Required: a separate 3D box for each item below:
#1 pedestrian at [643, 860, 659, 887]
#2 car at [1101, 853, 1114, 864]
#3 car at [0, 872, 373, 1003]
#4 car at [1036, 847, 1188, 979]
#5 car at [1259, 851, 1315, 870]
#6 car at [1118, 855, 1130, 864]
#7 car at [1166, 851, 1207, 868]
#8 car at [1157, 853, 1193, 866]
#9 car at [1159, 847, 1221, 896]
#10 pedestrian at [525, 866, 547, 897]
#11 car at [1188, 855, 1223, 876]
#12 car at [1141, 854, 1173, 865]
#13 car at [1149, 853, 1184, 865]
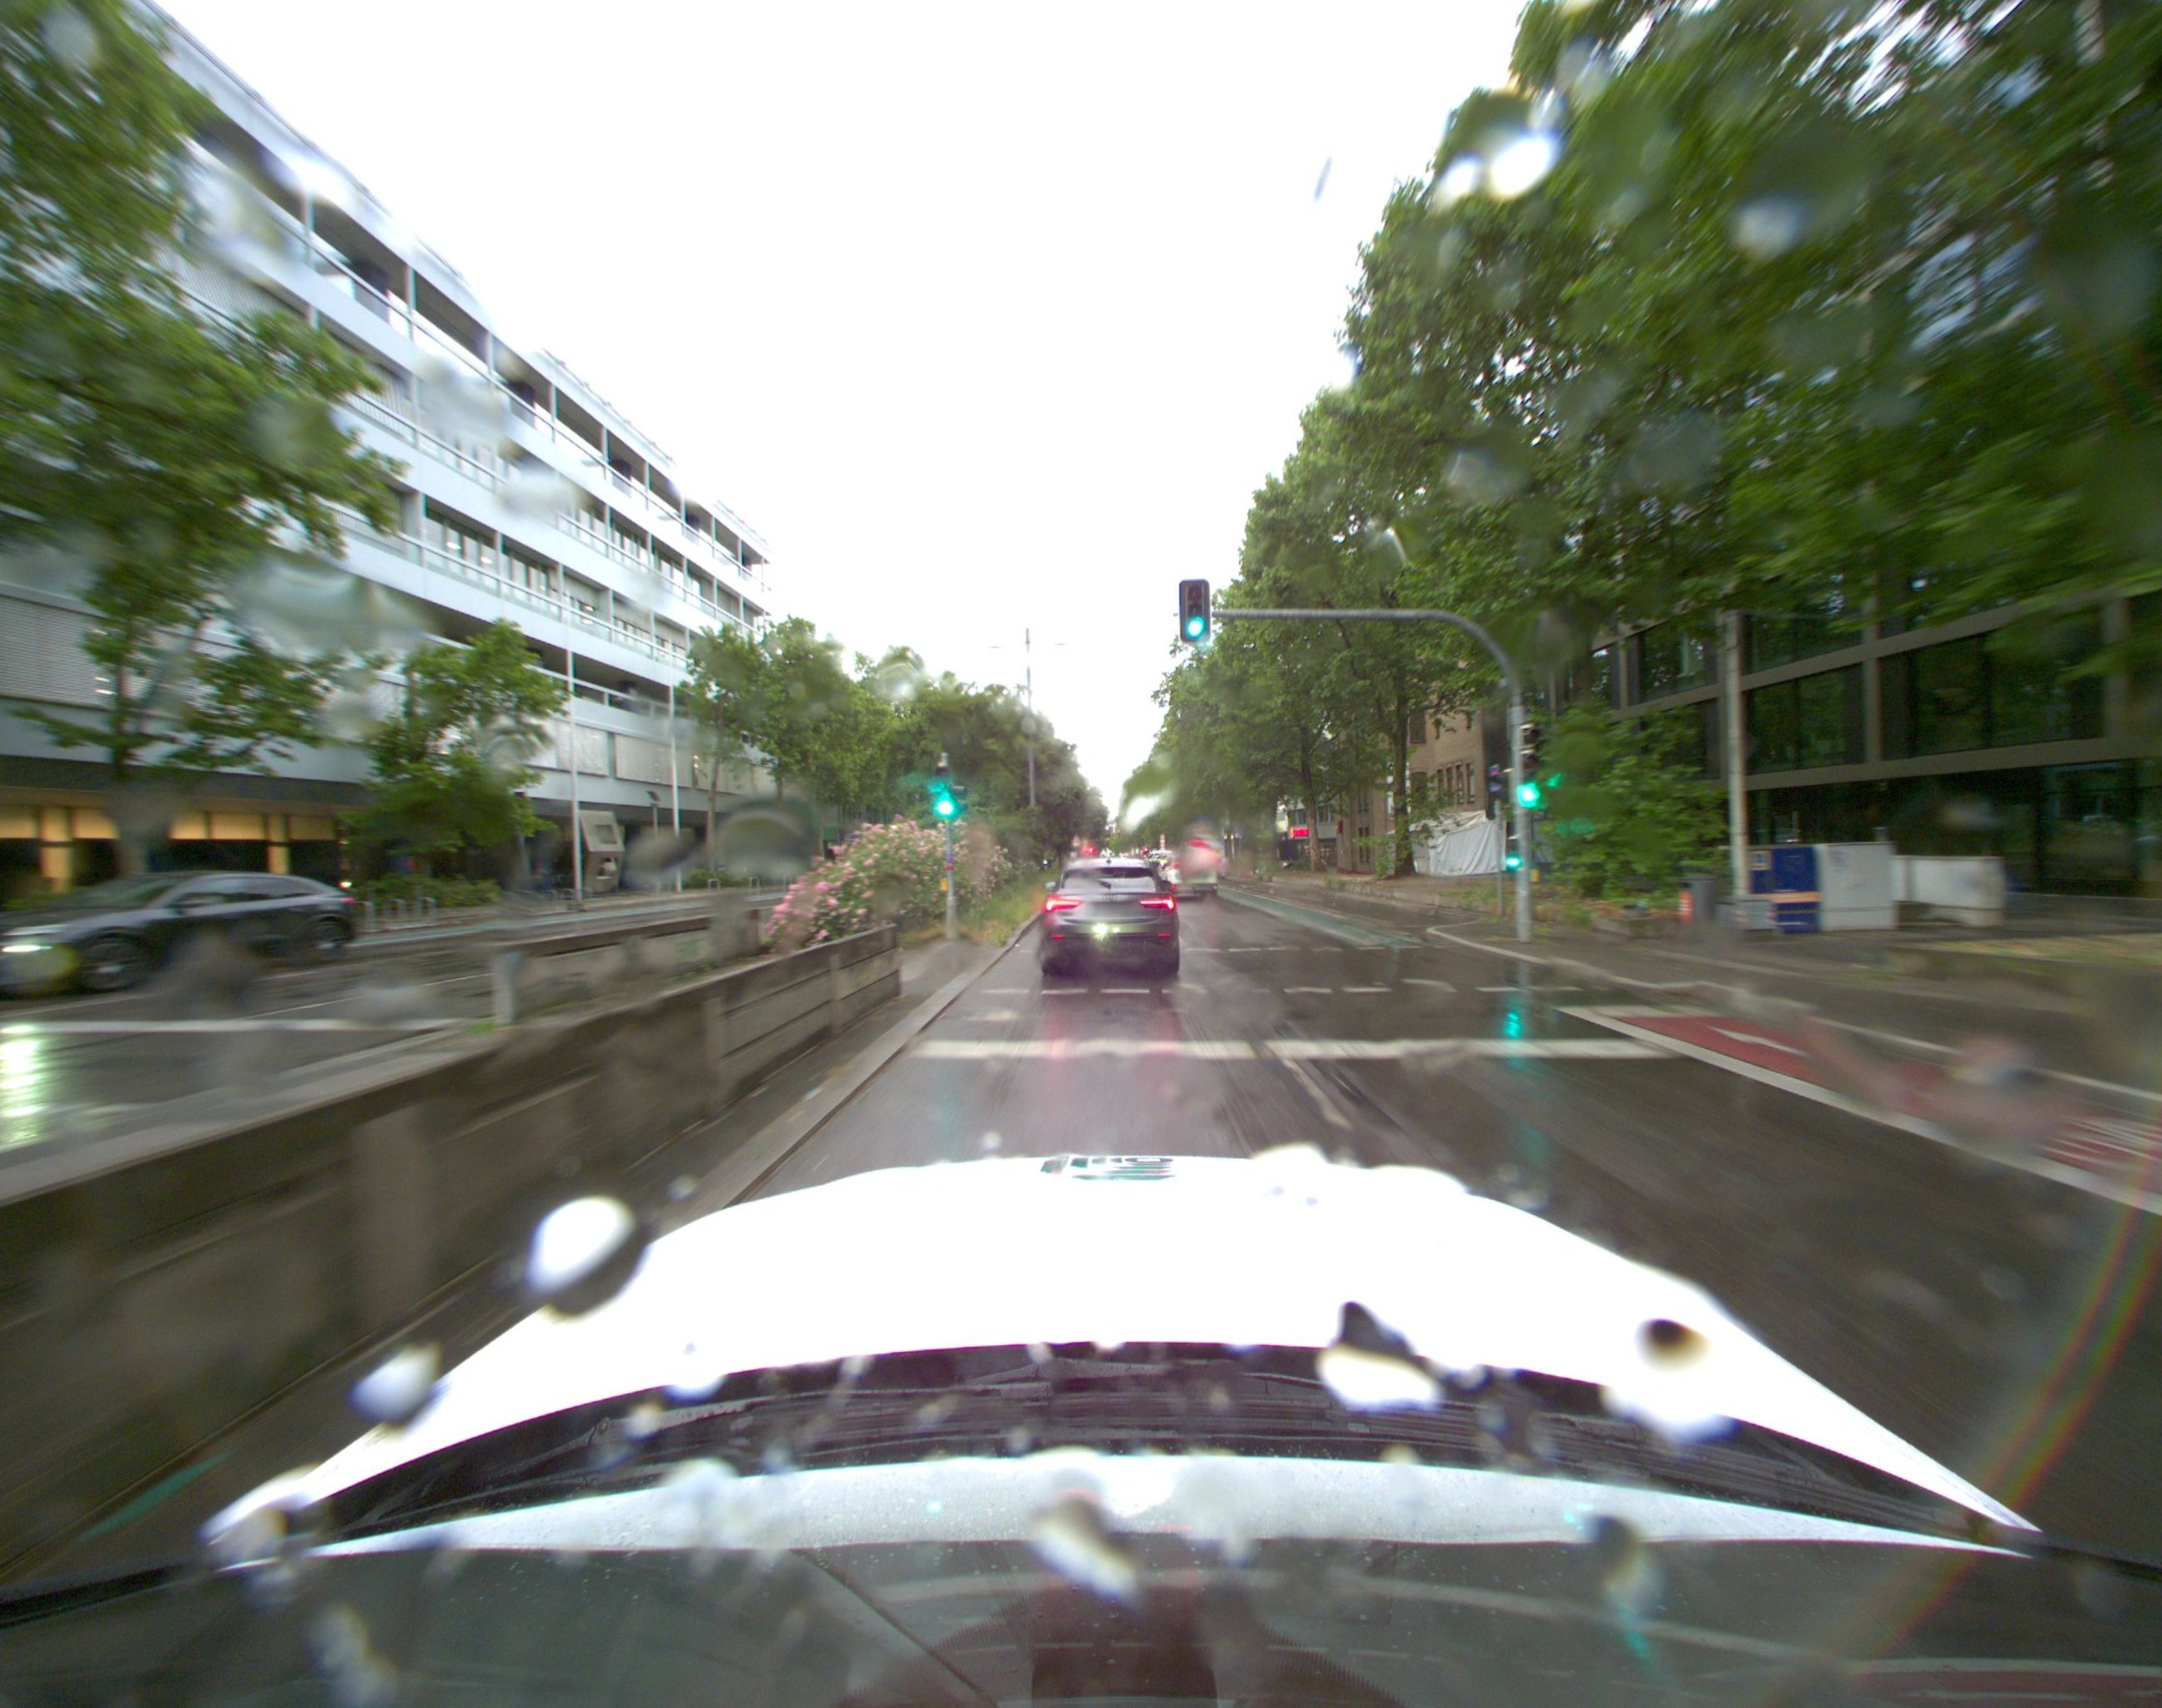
[{"bbox_3d":[-24.499,1.113,46.400,0.608,1.482,0.574,0,-1,-2],"label":"pedestrian"},{"bbox_3d":[4.204,0.758,129.363,1.986,1.726,4.000,0,-1,1],"label":"car"},{"bbox_3d":[-14.045,1.083,12.505,1.900,1.584,4.753,0,-1,5],"label":"car"},{"bbox_3d":[0.400,0.739,12.021,1.843,1.602,4.000,-1,0,0],"label":"car"},{"bbox_3d":[12.022,0.363,47.496,2.856,1.074,1.465,-1,-1,32],"label":"car"},{"bbox_3d":[7.338,0.948,140.186,1.986,1.651,4.001,0,-1,2],"label":"car"},{"bbox_3d":[12.625,0.710,97.893,4.548,2.014,1.980,-1,-1,39],"label":"car"},{"bbox_3d":[12.937,0.779,112.231,4.594,1.706,2.012,-1,-1,29],"label":"car"},{"bbox_3d":[3.992,0.637,30.268,1.871,1.697,4.001,0,-1,1],"label":"car"},{"bbox_3d":[-24.013,1.211,35.881,0.636,1.380,0.474,0,-1,-2],"label":"pedestrian"},{"bbox_3d":[8.733,0.821,57.417,1.866,1.421,4.612,0,-1,1],"label":"car"},{"bbox_3d":[12.124,0.924,129.602,4.594,1.706,2.012,-1,-1,29],"label":"car"},{"bbox_3d":[12.162,0.764,115.801,4.594,1.706,2.012,-1,-1,29],"label":"car"}]
